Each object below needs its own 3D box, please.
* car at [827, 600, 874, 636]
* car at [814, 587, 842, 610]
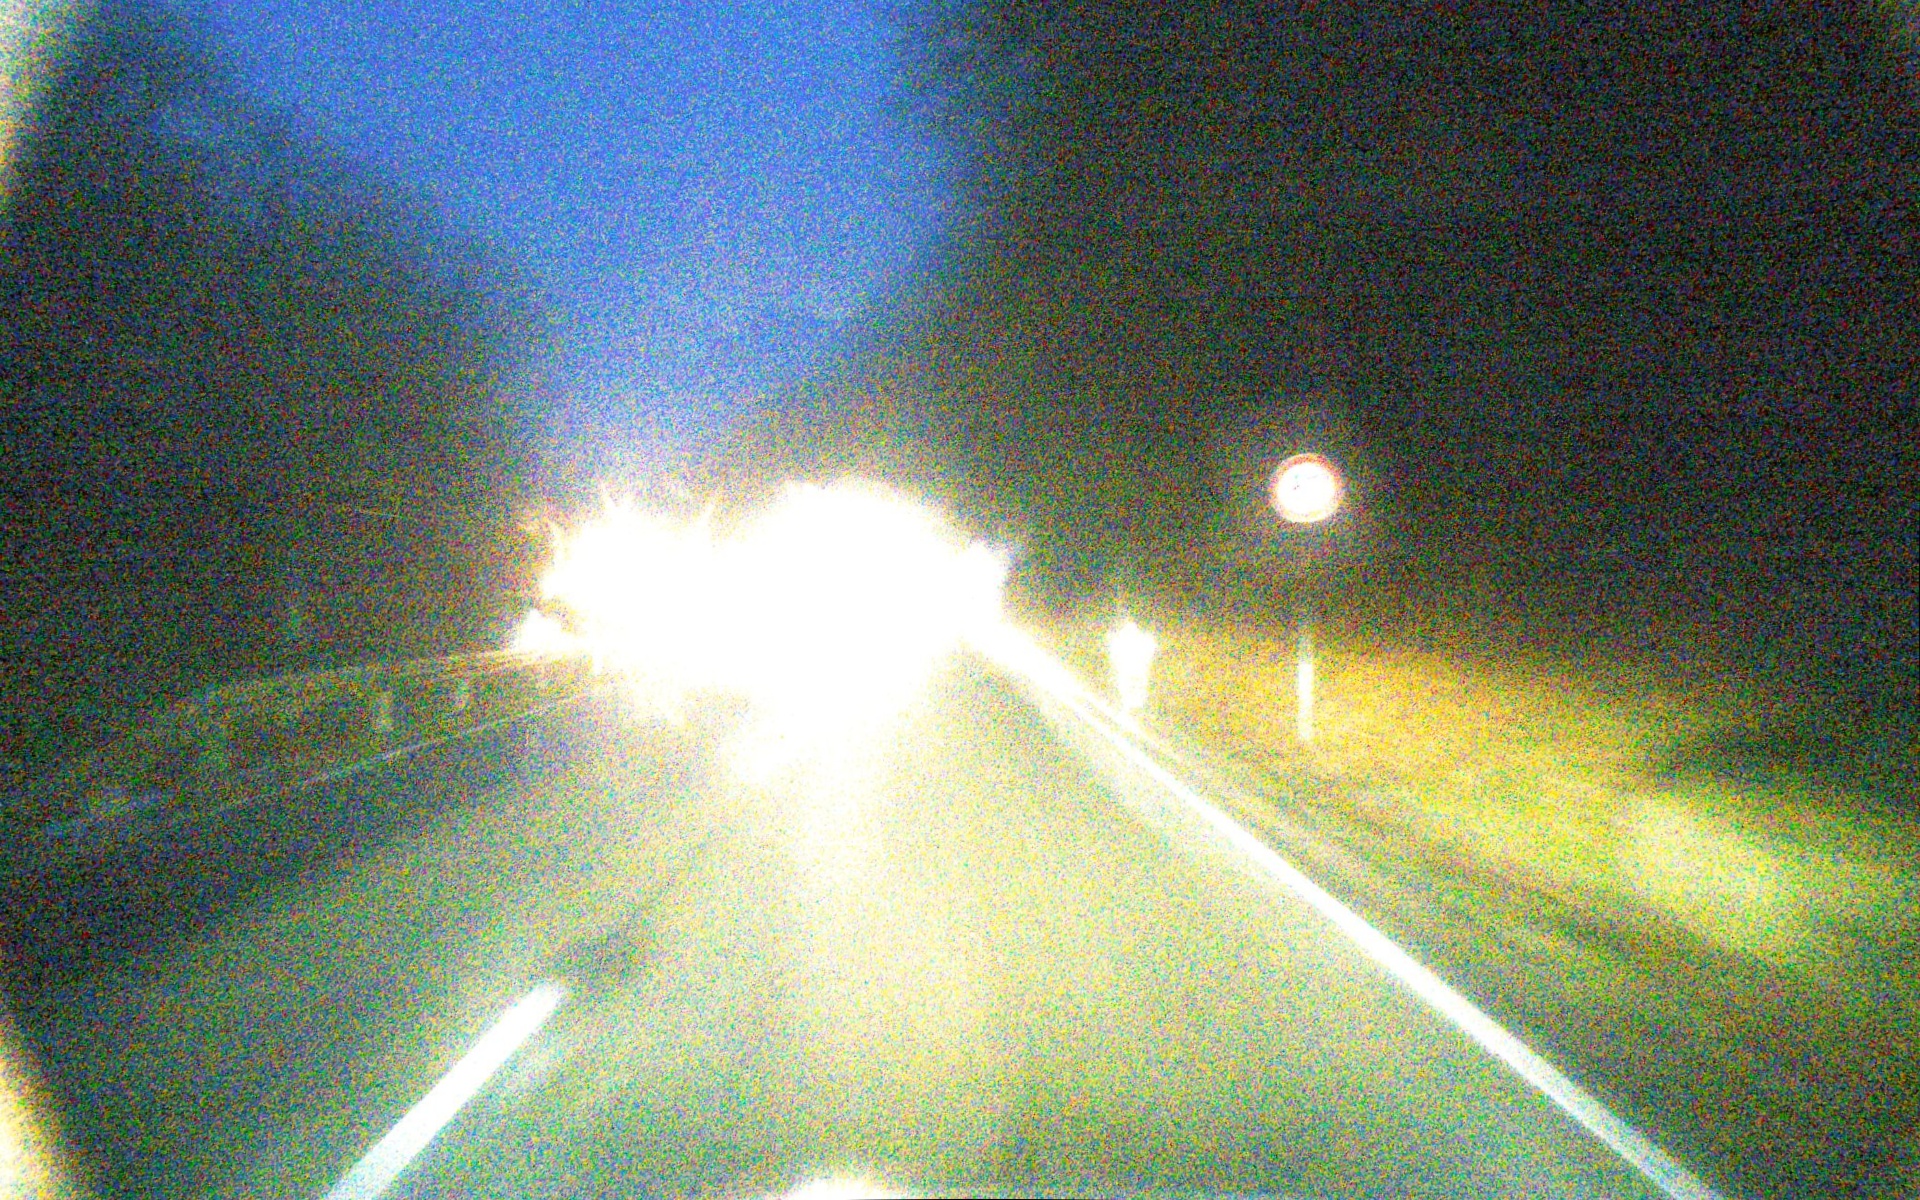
[{"bbox_3d":[-4.751,0.783,72.345,1.954,1.482,4.096,-2,0,-3],"label":"car"},{"bbox_3d":[-10.038,-0.093,125.702,1.954,1.640,4.096,-2,0,-3],"label":"car"}]
